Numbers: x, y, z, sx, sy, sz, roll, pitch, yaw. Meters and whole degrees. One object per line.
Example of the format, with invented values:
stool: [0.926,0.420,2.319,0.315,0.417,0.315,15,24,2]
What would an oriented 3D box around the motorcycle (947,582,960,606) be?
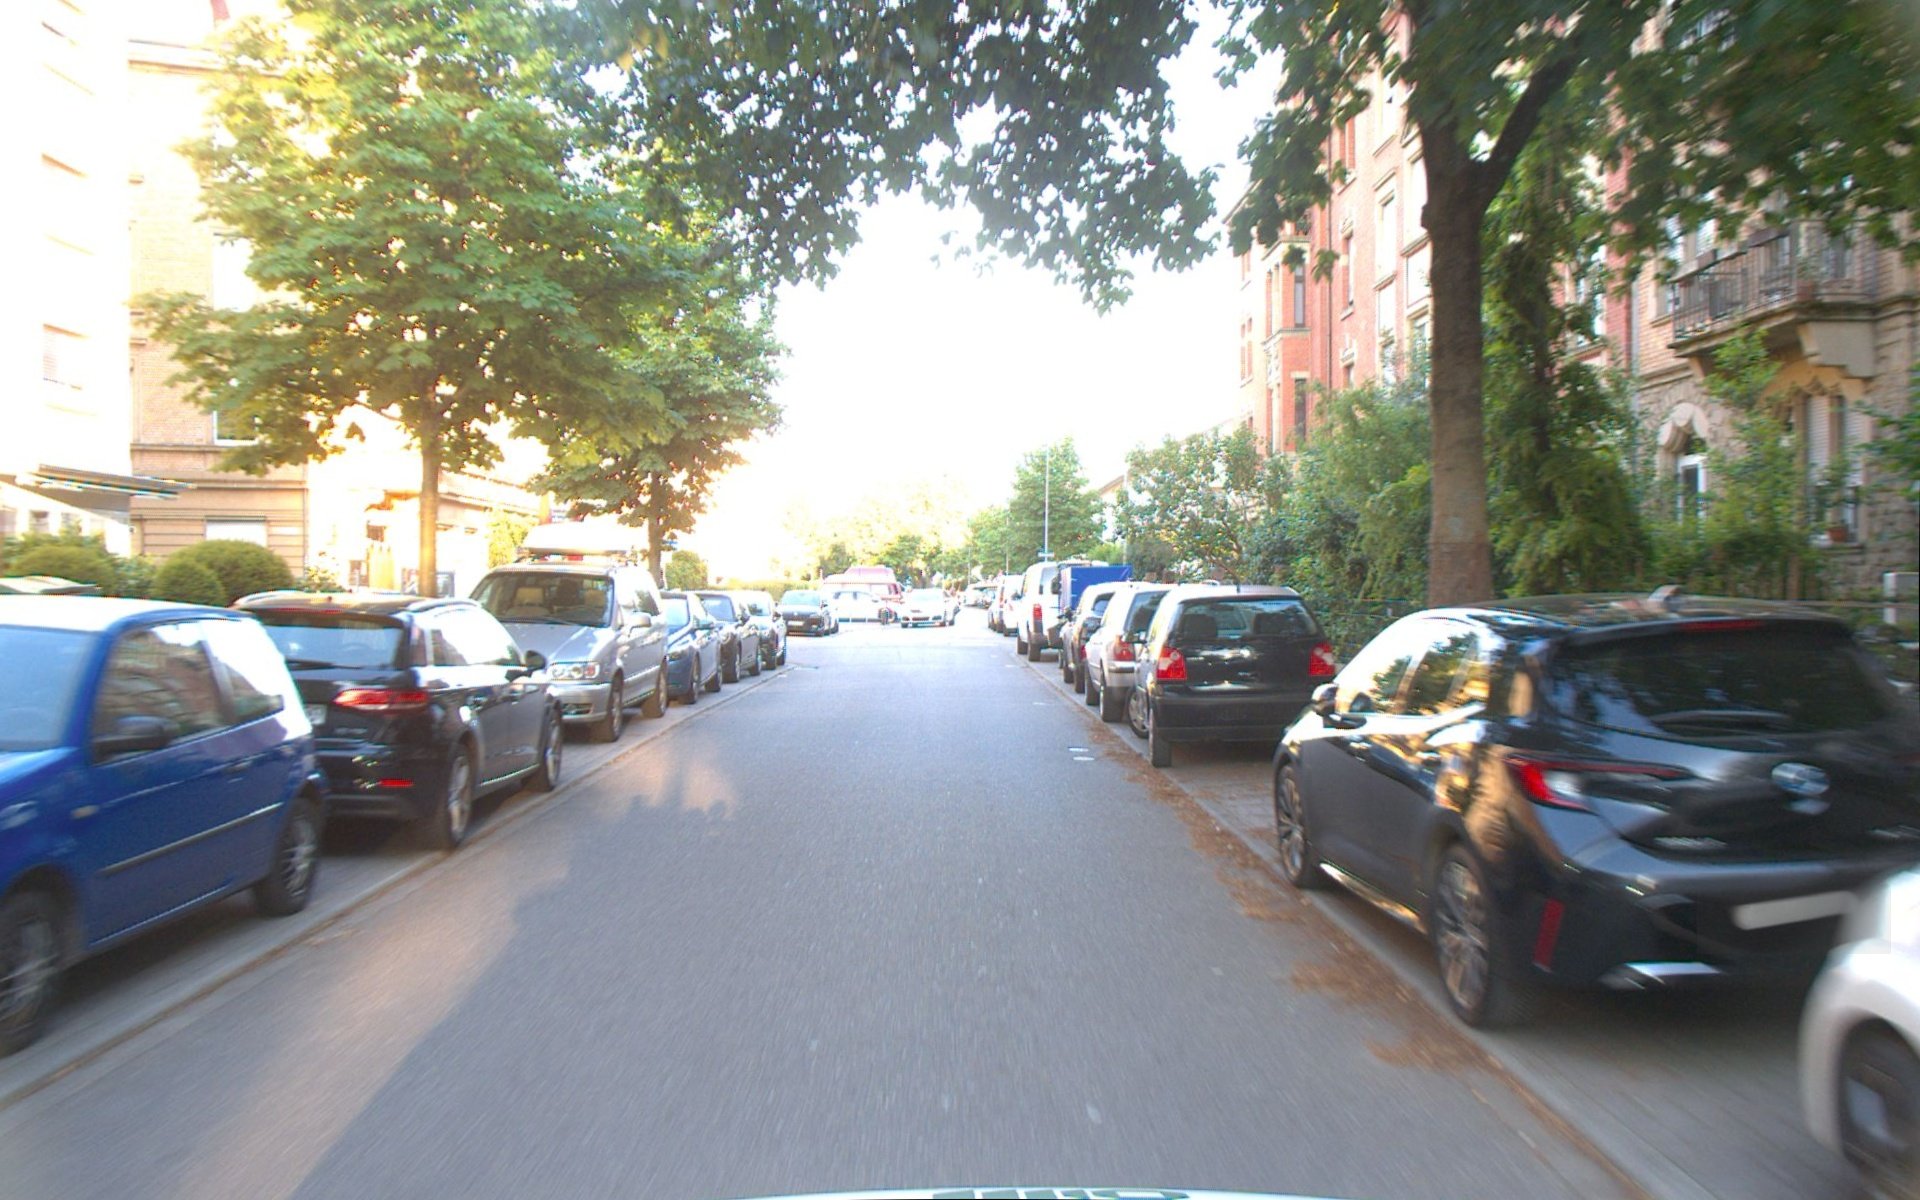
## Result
motorcycle: [-0.400,-0.374,98.457,0.727,1.272,3.378,-1,2,-1]

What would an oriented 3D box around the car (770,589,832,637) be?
car: [-5.220,0.418,54.673,1.680,1.512,3.630,0,0,0]

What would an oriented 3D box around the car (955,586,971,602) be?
car: [0.291,-0.650,174.438,1.681,1.624,3.482,0,1,-1]

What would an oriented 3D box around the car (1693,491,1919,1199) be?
car: [2.850,0.595,2.649,1.652,1.634,3.748,0,0,-1]

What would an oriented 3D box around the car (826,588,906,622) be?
car: [-4.272,0.211,75.034,3.547,1.487,1.605,0,1,-5]

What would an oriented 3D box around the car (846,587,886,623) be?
car: [-4.118,0.203,72.039,1.682,1.466,3.628,0,1,-4]

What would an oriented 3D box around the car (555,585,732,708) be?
car: [-4.191,0.552,22.458,1.681,1.490,3.986,0,1,-1]

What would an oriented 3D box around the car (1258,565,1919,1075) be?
car: [2.530,0.634,7.031,1.652,1.466,4.209,-2,0,-1]

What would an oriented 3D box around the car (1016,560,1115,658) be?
car: [2.193,0.167,35.284,1.647,1.975,3.878,0,0,-3]

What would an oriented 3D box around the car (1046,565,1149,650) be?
car: [2.574,0.128,31.594,1.508,1.548,3.429,0,0,-3]

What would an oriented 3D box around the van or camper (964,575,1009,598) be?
van or camper: [3.194,-1.643,200.154,5.170,2.840,1.547,0,1,-12]

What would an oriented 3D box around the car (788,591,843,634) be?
car: [-5.247,0.430,60.423,1.680,1.466,3.631,0,1,0]

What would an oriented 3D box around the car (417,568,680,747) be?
car: [-4.118,0.498,17.285,1.681,1.624,4.518,0,1,-1]

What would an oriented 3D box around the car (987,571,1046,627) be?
car: [1.875,-0.047,55.972,1.653,1.843,3.937,0,0,-3]

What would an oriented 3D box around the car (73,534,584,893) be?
car: [-3.684,0.546,10.518,1.681,1.821,4.215,0,1,-1]

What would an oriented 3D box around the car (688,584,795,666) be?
car: [-4.218,0.444,32.399,1.566,1.466,3.837,0,1,0]

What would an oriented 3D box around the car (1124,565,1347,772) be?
car: [2.379,0.530,15.095,1.651,1.634,3.942,0,0,4]

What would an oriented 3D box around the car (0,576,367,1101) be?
car: [-3.791,0.709,6.394,1.681,1.593,3.787,0,1,-1]

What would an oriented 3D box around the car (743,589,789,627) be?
car: [-7.887,0.302,67.505,1.682,1.466,3.628,0,1,-4]

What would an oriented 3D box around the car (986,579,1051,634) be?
car: [1.767,0.195,51.073,1.653,1.634,3.937,0,0,-3]

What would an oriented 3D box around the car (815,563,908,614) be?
car: [-4.600,-0.553,77.582,4.262,2.358,1.745,0,1,-3]

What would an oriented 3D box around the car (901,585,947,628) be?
car: [-1.430,0.247,66.099,1.776,1.624,3.482,0,1,-1]

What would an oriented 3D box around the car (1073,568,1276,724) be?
car: [2.386,0.475,19.306,1.653,1.634,3.937,0,0,-3]

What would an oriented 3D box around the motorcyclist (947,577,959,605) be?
motorcyclist: [-0.405,-0.562,99.103,0.688,1.659,0.822,0,0,-1]

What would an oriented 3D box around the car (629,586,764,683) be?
car: [-4.257,0.513,27.217,1.681,1.466,3.630,0,1,-1]
